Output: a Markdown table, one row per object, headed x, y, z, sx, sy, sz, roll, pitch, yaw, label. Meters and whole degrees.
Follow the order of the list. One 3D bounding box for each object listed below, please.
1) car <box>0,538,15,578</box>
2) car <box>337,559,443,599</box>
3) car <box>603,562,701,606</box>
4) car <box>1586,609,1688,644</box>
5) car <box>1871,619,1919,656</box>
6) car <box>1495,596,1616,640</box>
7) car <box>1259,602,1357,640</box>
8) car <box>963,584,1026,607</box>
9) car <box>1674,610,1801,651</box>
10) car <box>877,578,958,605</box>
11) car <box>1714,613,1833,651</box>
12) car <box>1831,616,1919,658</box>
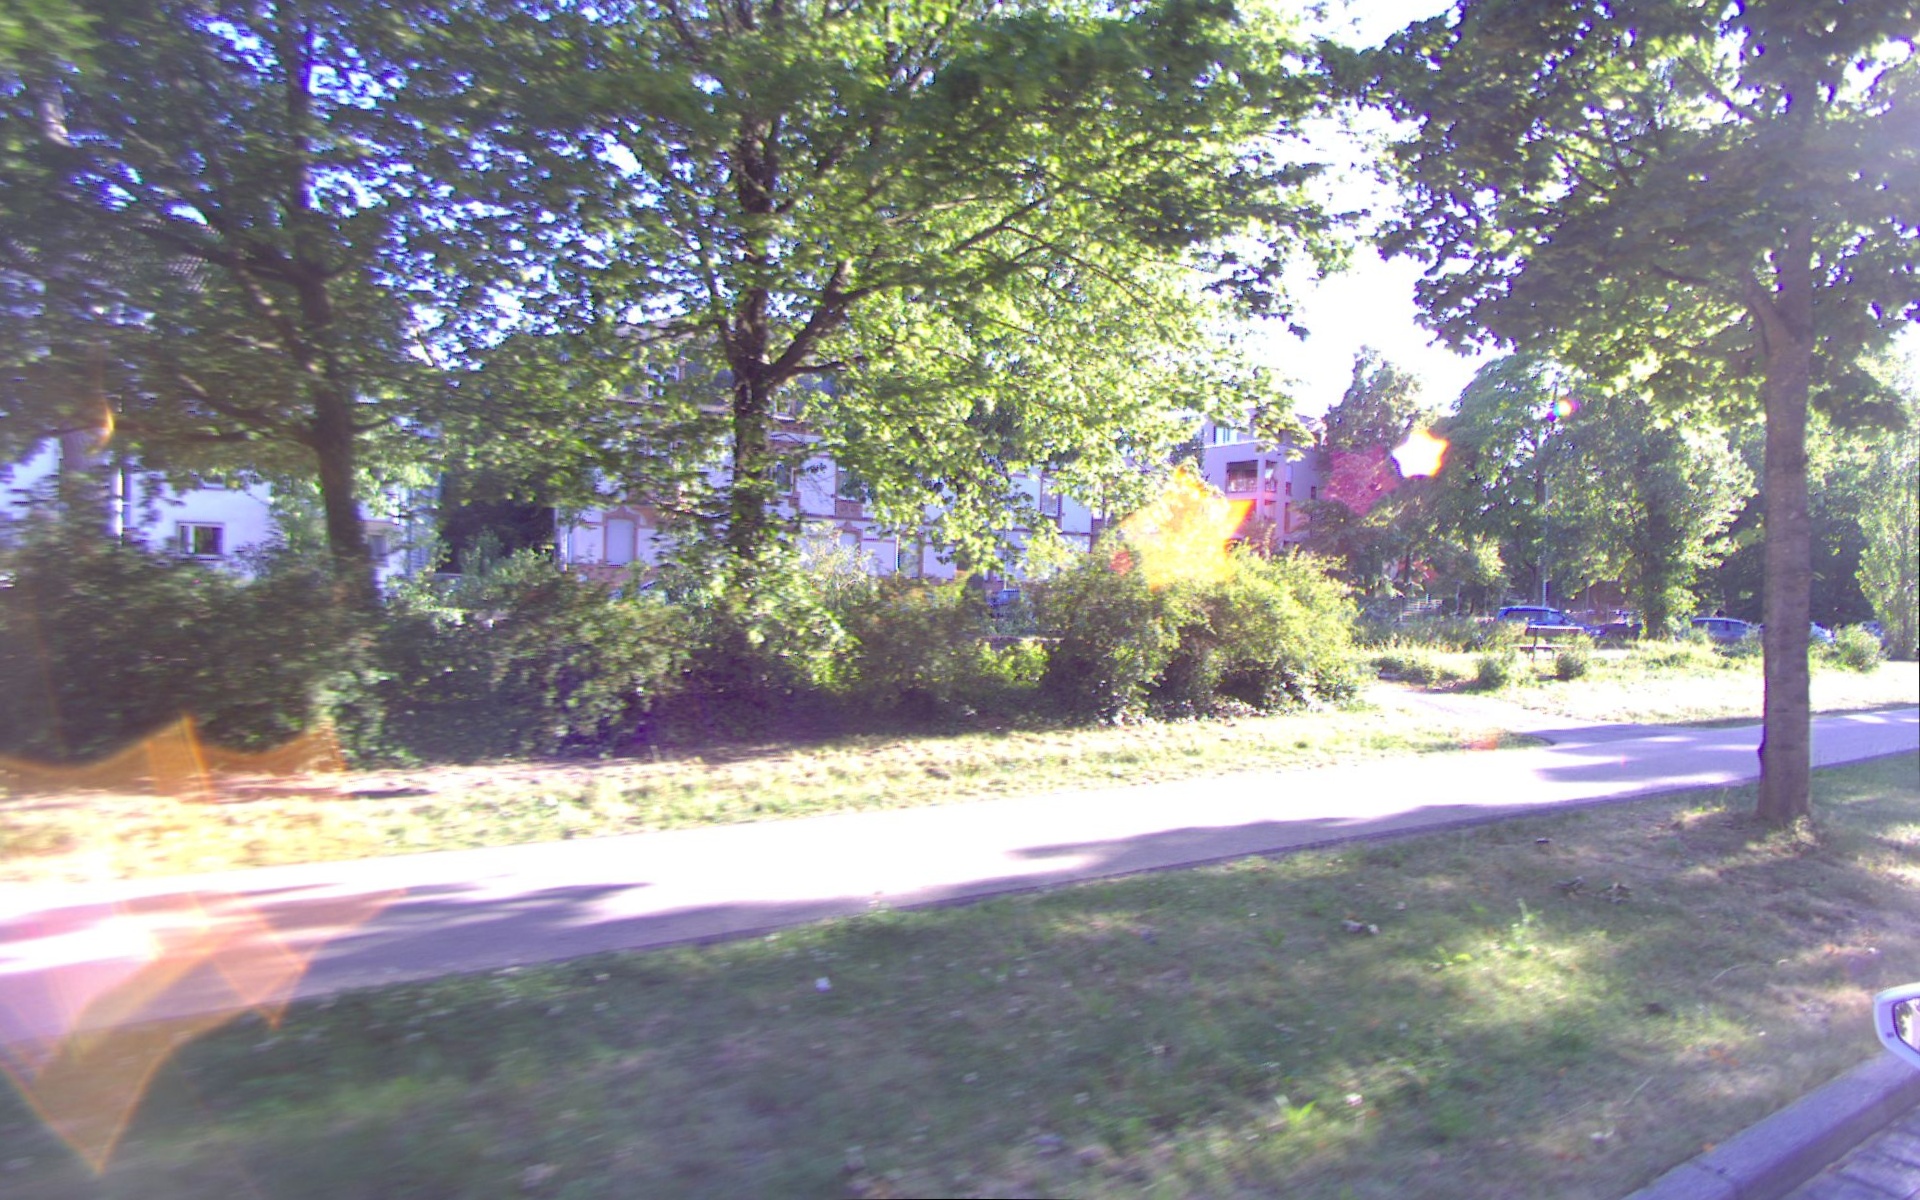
| x | y | z | sx | sy | sz | roll | pitch | yaw | label |
| --- | --- | --- | --- | --- | --- | --- | --- | --- | --- |
| -33.697 | -1.467 | 33.108 | 3.328 | 1.335 | 1.630 | 2 | 2 | -23 | car |
| -21.635 | -0.809 | 38.285 | 3.330 | 1.336 | 1.629 | 2 | 2 | -25 | car |
| -12.921 | -0.652 | 42.228 | 3.721 | 1.692 | 1.315 | 2 | 1 | -28 | car |
| 32.465 | 1.239 | 48.213 | 3.933 | 1.439 | 1.766 | 3 | 1 | 35 | car |
| 41.284 | 1.656 | 42.398 | 3.858 | 1.439 | 1.767 | 3 | 1 | 33 | car |
| 26.644 | 0.784 | 45.018 | 4.470 | 1.708 | 1.765 | 3 | 2 | 36 | car |
| 12.192 | 0.737 | 35.174 | 3.058 | 1.175 | 1.522 | 2 | 1 | -28 | car |
| 1.740 | -0.223 | 50.266 | 2.853 | 1.038 | 1.316 | 2 | 1 | -28 | car |
| 31.943 | 1.218 | 41.418 | 3.931 | 1.439 | 1.767 | 3 | 1 | 32 | car |
| -2.015 | -0.394 | 48.147 | 3.617 | 1.134 | 1.459 | 2 | 1 | -29 | car |
| 36.667 | 1.411 | 45.402 | 3.932 | 1.439 | 1.767 | 3 | 1 | 34 | car |
| 36.229 | 1.442 | 38.544 | 3.929 | 1.439 | 1.768 | 3 | 1 | 31 | car |
